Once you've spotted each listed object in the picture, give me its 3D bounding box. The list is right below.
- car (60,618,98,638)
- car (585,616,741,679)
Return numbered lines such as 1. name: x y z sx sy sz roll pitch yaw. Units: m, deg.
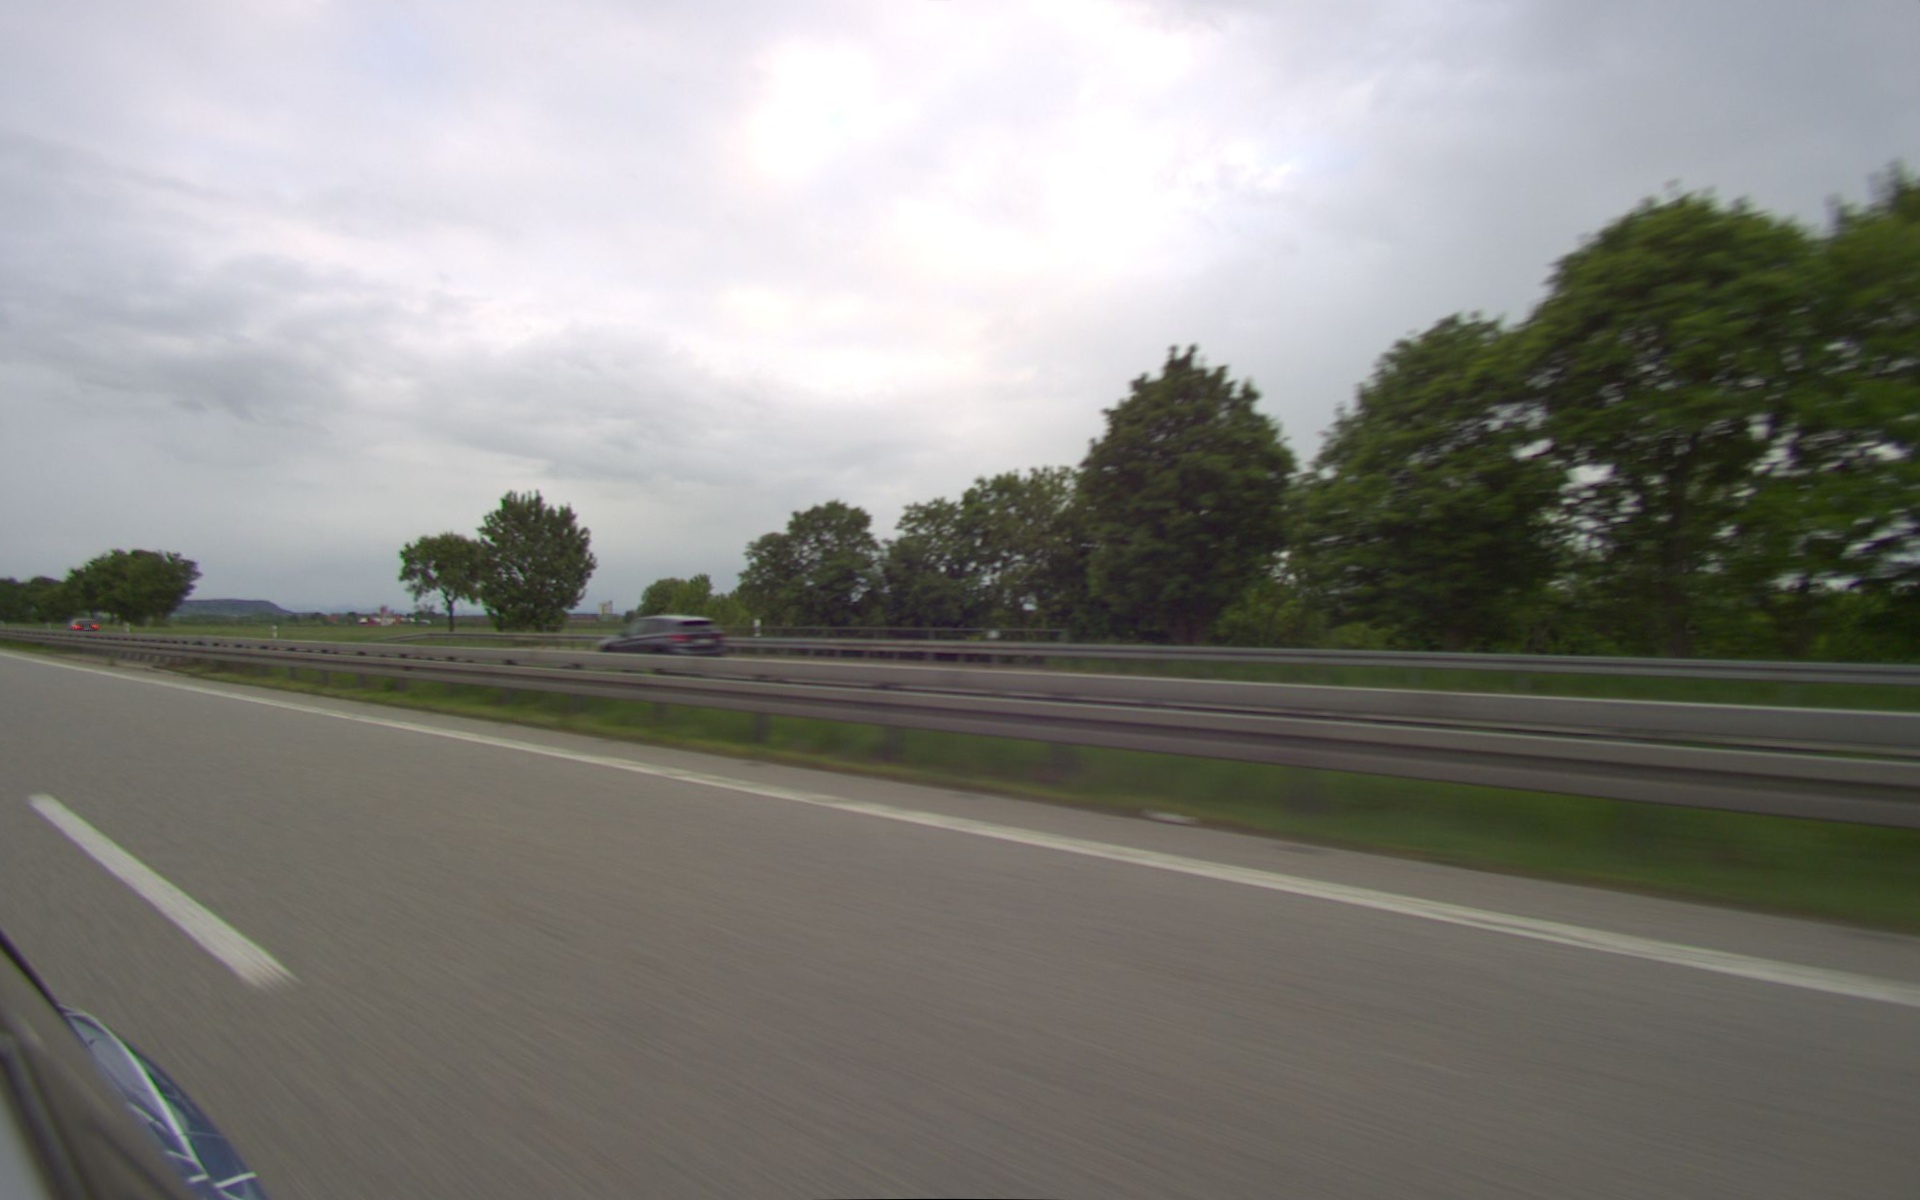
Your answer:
1. car: -76.425 2.433 87.767 4.521 1.574 1.799 0 1 41
2. car: -8.489 1.284 28.701 4.807 1.594 1.973 -1 0 41
